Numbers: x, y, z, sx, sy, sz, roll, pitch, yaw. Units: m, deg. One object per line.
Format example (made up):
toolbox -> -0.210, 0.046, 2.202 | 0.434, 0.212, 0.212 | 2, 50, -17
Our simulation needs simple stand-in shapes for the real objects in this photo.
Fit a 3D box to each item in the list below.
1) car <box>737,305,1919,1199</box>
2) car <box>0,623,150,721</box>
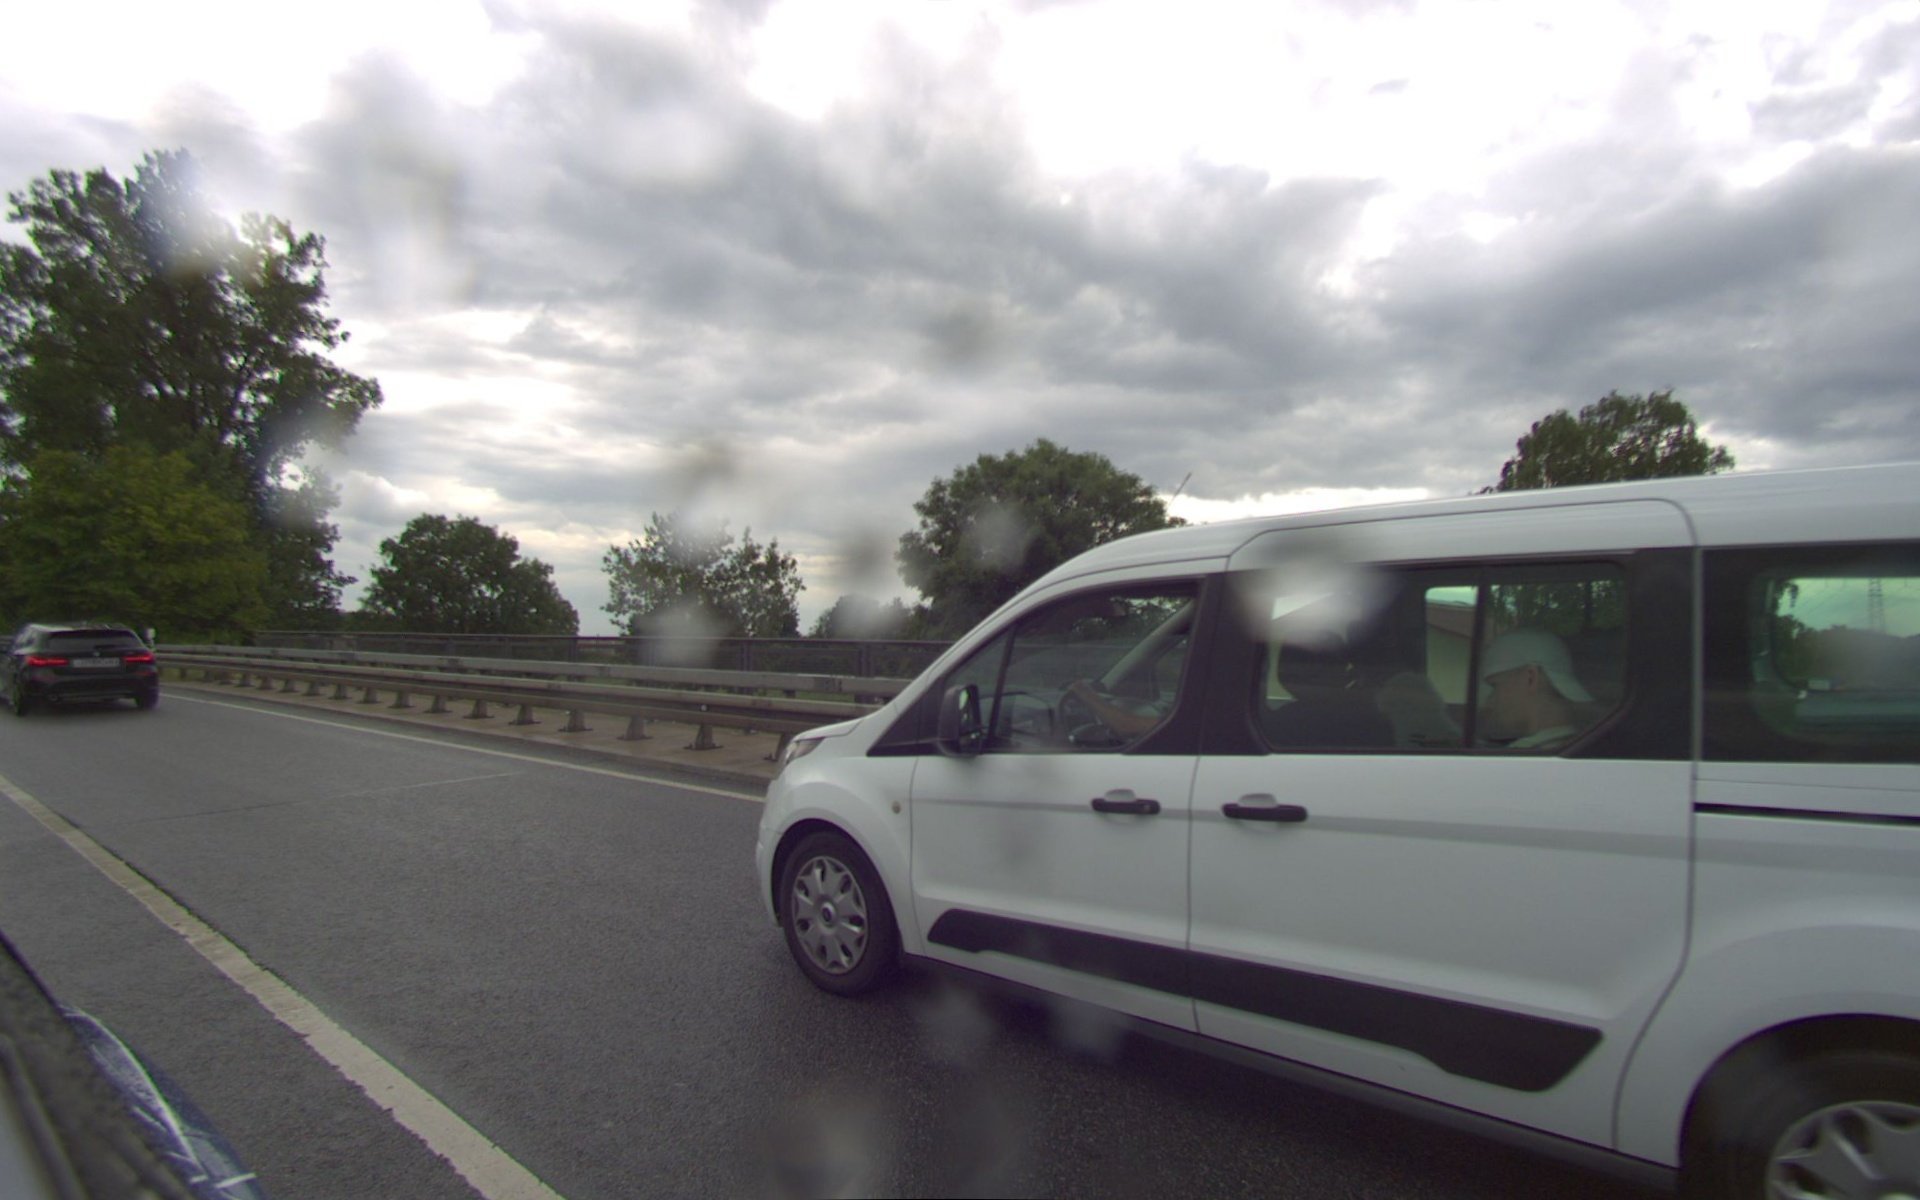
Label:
car -> 1.382, 0.464, 3.304 | 4.487, 1.906, 1.842 | -2, -2, 41
car -> -15.262, 1.116, 17.134 | 4.329, 1.410, 1.679 | 0, -1, 41
